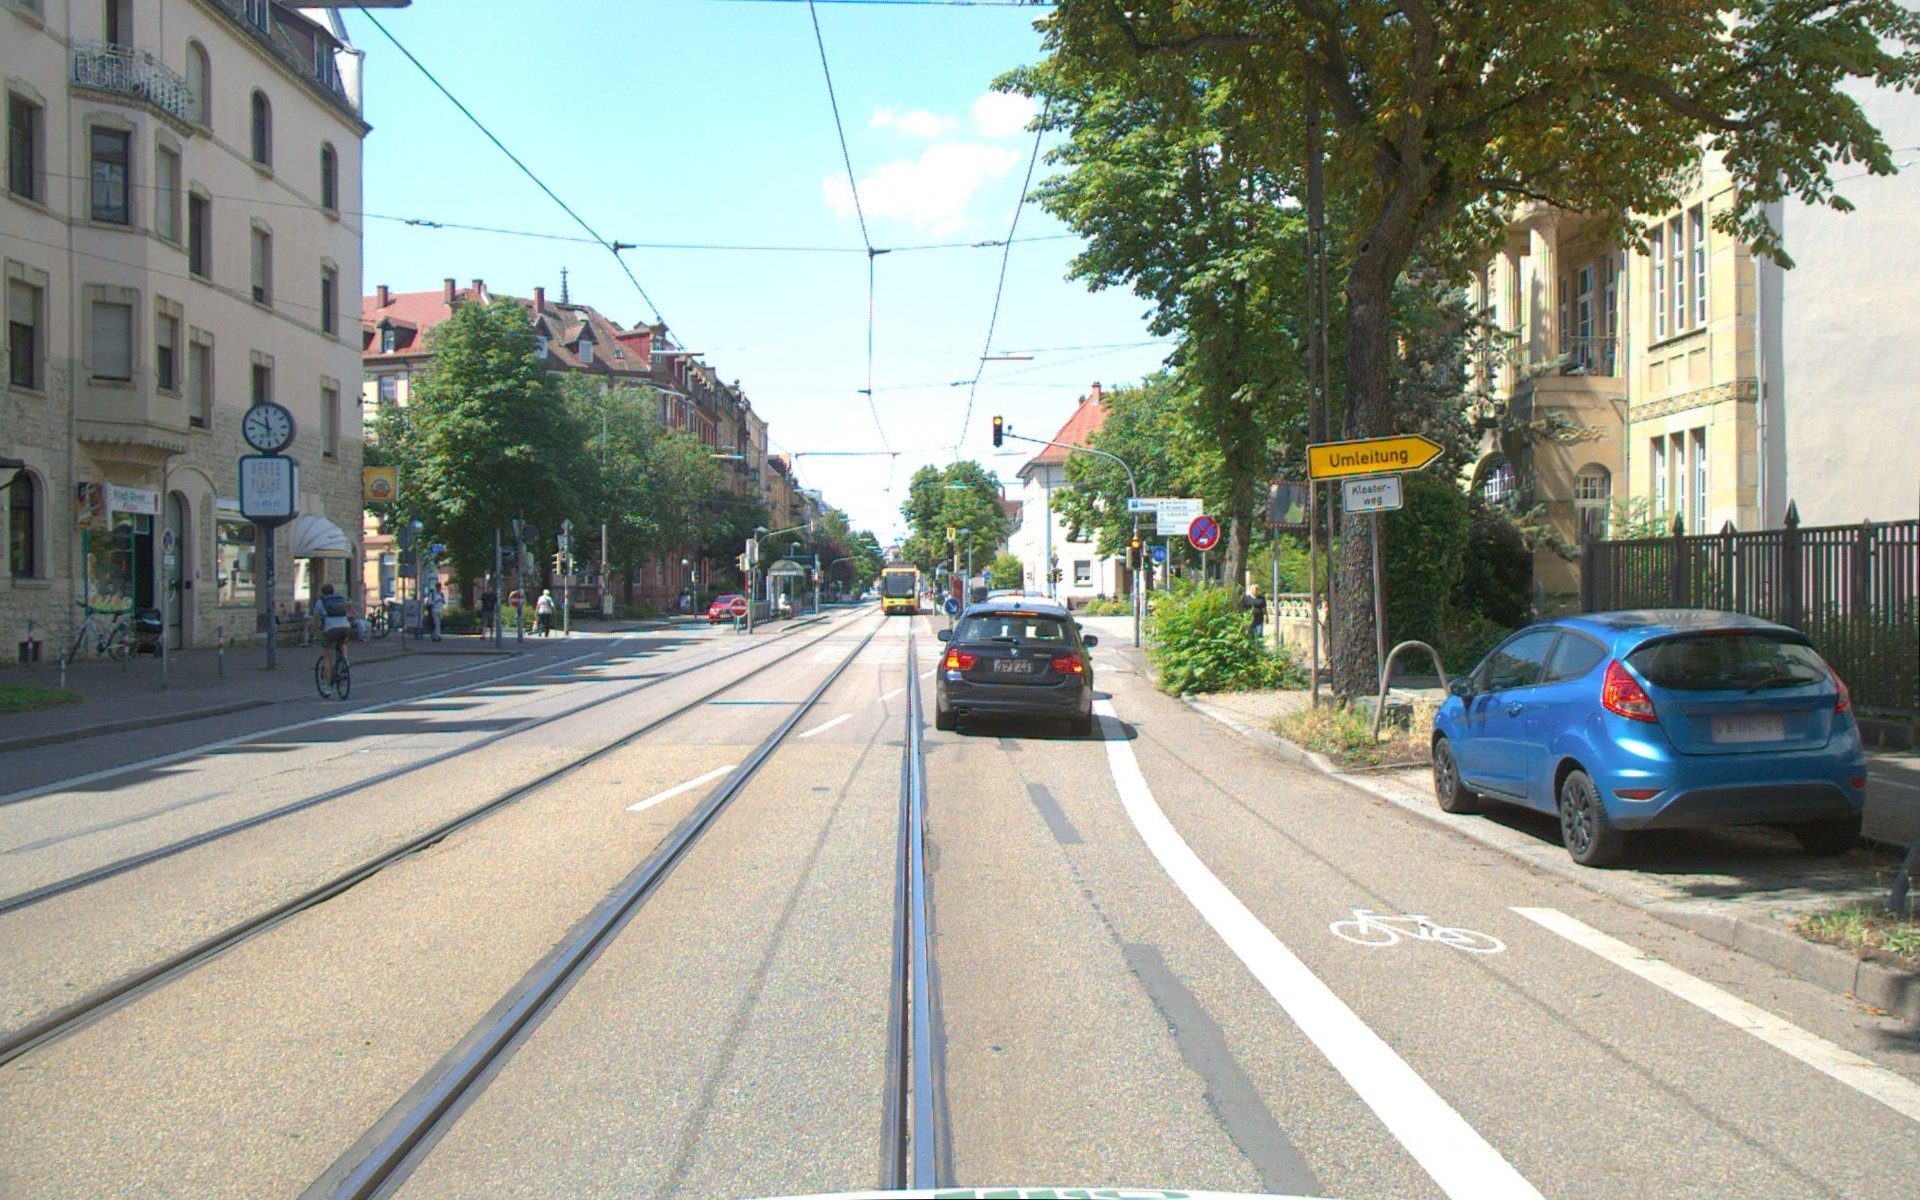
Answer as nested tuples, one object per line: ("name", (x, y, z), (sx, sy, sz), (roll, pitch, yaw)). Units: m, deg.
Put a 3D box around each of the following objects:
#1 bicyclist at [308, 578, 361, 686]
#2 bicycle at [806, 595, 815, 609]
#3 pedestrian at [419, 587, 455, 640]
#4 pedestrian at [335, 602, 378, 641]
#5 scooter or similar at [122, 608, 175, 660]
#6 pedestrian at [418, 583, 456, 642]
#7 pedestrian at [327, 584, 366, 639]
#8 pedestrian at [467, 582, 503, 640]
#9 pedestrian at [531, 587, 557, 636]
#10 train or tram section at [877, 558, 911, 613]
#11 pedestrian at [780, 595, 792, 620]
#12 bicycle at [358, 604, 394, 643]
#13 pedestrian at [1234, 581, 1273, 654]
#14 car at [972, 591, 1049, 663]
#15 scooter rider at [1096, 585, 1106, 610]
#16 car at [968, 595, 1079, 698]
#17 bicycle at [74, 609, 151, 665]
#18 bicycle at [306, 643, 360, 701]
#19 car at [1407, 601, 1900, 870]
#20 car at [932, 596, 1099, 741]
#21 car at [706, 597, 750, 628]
("bicyclist", (-9.983, 0.506, 26.425), (0.745, 1.692, 0.826), (1, -1, -20))
("bicycle", (-12.506, 0.174, 138.310), (0.714, 1.121, 1.714), (0, 0, -3))
("pedestrian", (-16.729, 0.425, 52.913), (0.843, 1.664, 1.026), (0, 0, -3))
("pedestrian", (-17.392, 0.611, 47.666), (0.897, 1.096, 0.883), (0, 0, -1))
("scooter or similar", (-17.071, 0.709, 34.789), (0.690, 1.062, 1.191), (2, -1, -42))
("pedestrian", (-15.846, 0.364, 50.088), (0.847, 1.763, 0.770), (1, 0, 43))
("pedestrian", (-18.324, 0.327, 49.399), (0.899, 1.622, 0.808), (0, 0, -5))
("pedestrian", (-15.959, 0.360, 55.601), (0.882, 1.924, 1.164), (0, 0, -2))
("pedestrian", (-14.928, 0.409, 59.351), (0.901, 1.753, 0.837), (0, 0, -16))
("train or tram section", (-4.425, -0.961, 111.656), (2.146, 3.543, 8.842), (0, 0, -2))
("pedestrian", (-8.771, 0.383, 83.267), (0.602, 1.264, 0.627), (0, 0, -7))
("bicycle", (-18.080, 0.732, 51.189), (0.539, 1.148, 1.659), (0, -2, -38))
("pedestrian", (6.833, 0.404, 38.556), (0.838, 1.674, 0.837), (-1, 0, 6))
("car", (1.161, 0.582, 38.340), (1.656, 1.540, 3.822), (2, 0, 2))
("scooter rider", (9.564, -0.155, 112.123), (0.579, 1.716, 0.527), (0, 0, -7))
("car", (0.963, 0.685, 26.585), (1.650, 1.510, 3.684), (0, 0, 0))
("bicycle", (-16.811, 0.731, 32.842), (0.362, 1.084, 1.465), (1, -1, 21))
("bicycle", (-10.045, 1.134, 26.457), (0.742, 0.832, 1.807), (0, 0, -23))
("car", (4.412, 0.761, 11.168), (1.644, 1.469, 3.719), (0, 0, -3))
("car", (0.643, 0.707, 19.510), (1.687, 1.433, 4.566), (2, 0, 2))
("car", (-11.671, 0.604, 83.345), (1.787, 1.438, 4.426), (-2, 0, -4))
